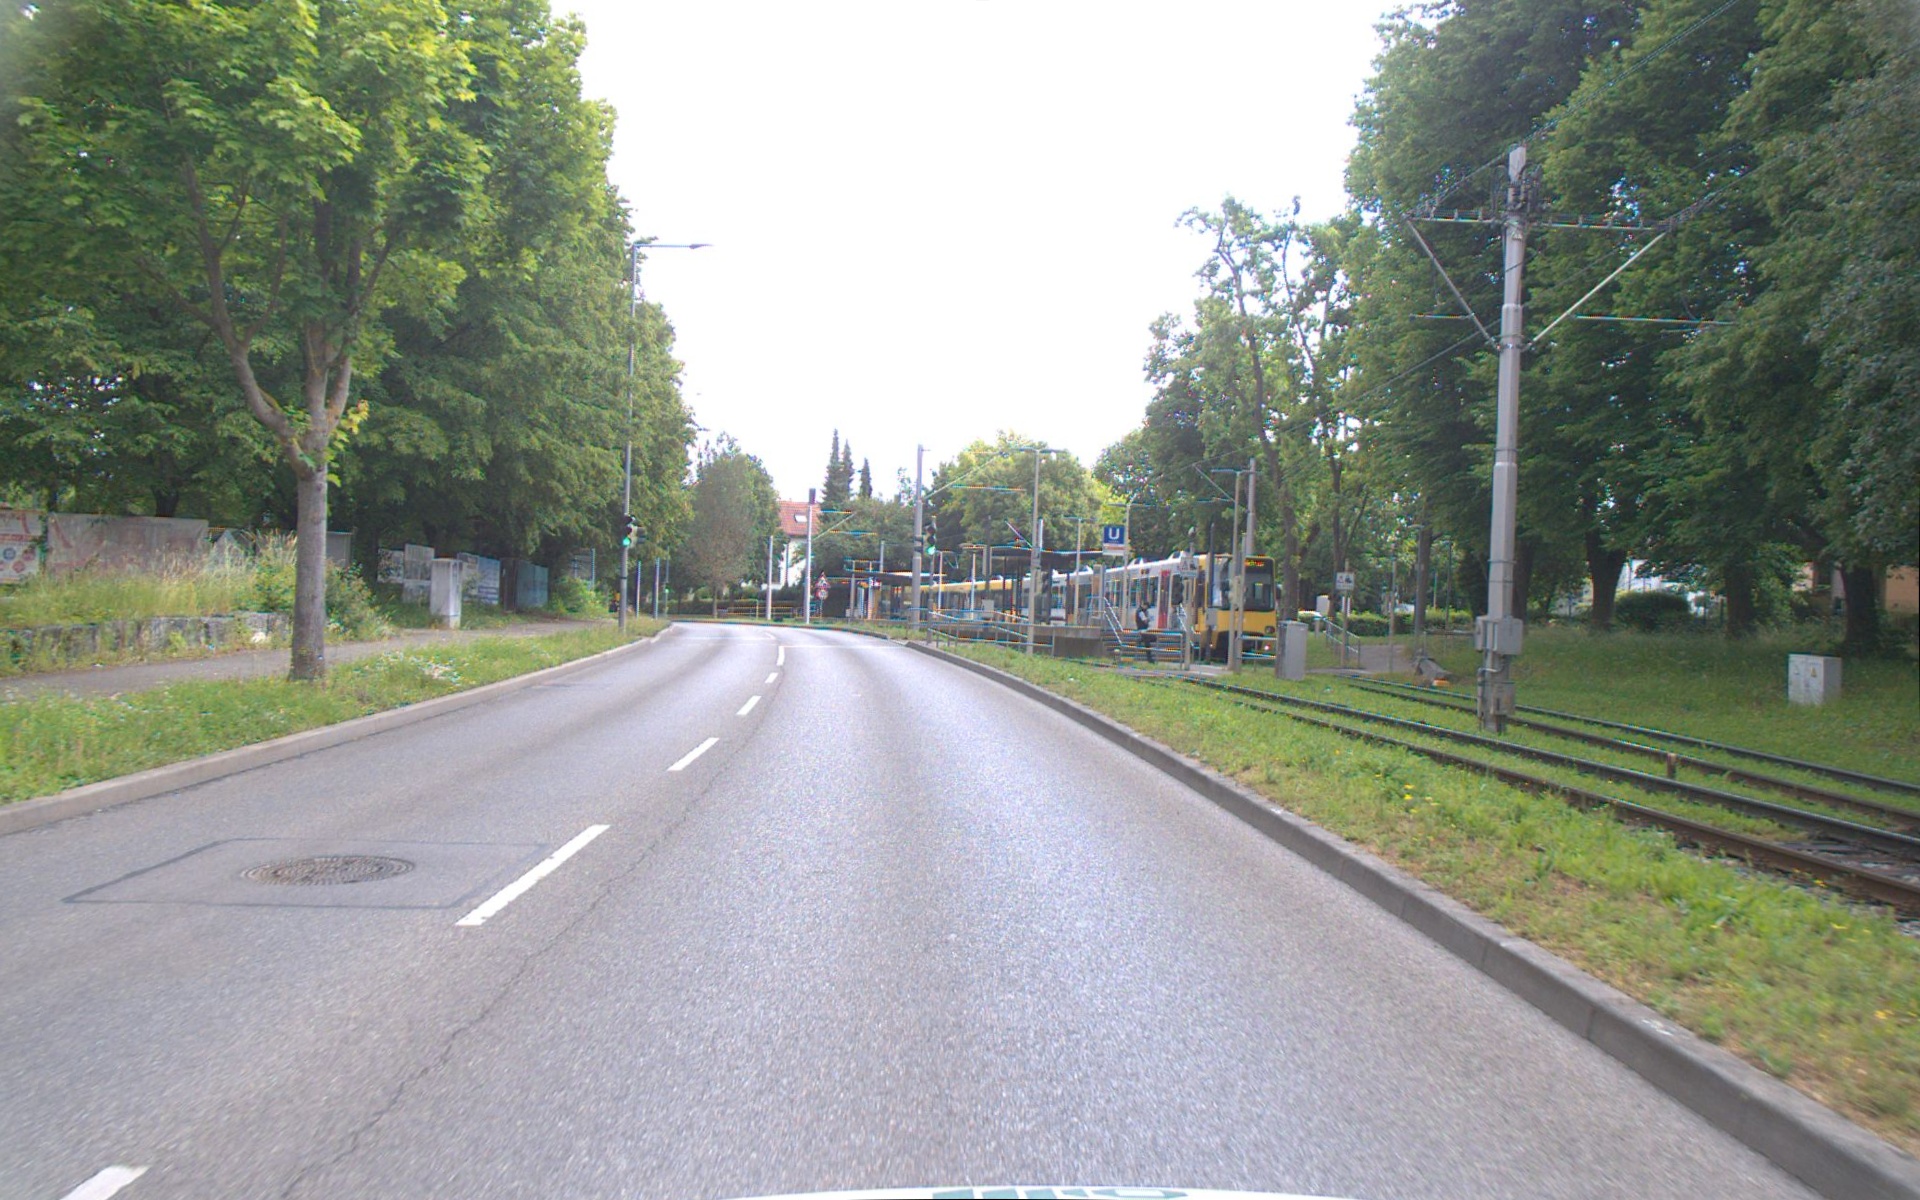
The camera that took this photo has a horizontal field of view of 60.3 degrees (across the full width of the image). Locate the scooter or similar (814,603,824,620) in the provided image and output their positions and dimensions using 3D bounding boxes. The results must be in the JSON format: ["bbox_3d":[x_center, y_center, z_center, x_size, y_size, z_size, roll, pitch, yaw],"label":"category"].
[{"bbox_3d":[-10.769,0.890,126.344,0.424,1.275,1.246,1,-3,-22],"label":"scooter or similar"}]

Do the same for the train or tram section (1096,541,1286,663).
[{"bbox_3d":[8.232,0.172,62.610,2.759,3.802,18.508,3,-1,-5],"label":"train or tram section"}]

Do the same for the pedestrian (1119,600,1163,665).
[{"bbox_3d":[5.145,0.910,47.018,0.968,1.788,0.726,3,0,-16],"label":"pedestrian"}]

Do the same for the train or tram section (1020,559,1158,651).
[{"bbox_3d":[5.956,0.304,81.386,2.760,3.865,18.900,3,-1,-7],"label":"train or tram section"}]
